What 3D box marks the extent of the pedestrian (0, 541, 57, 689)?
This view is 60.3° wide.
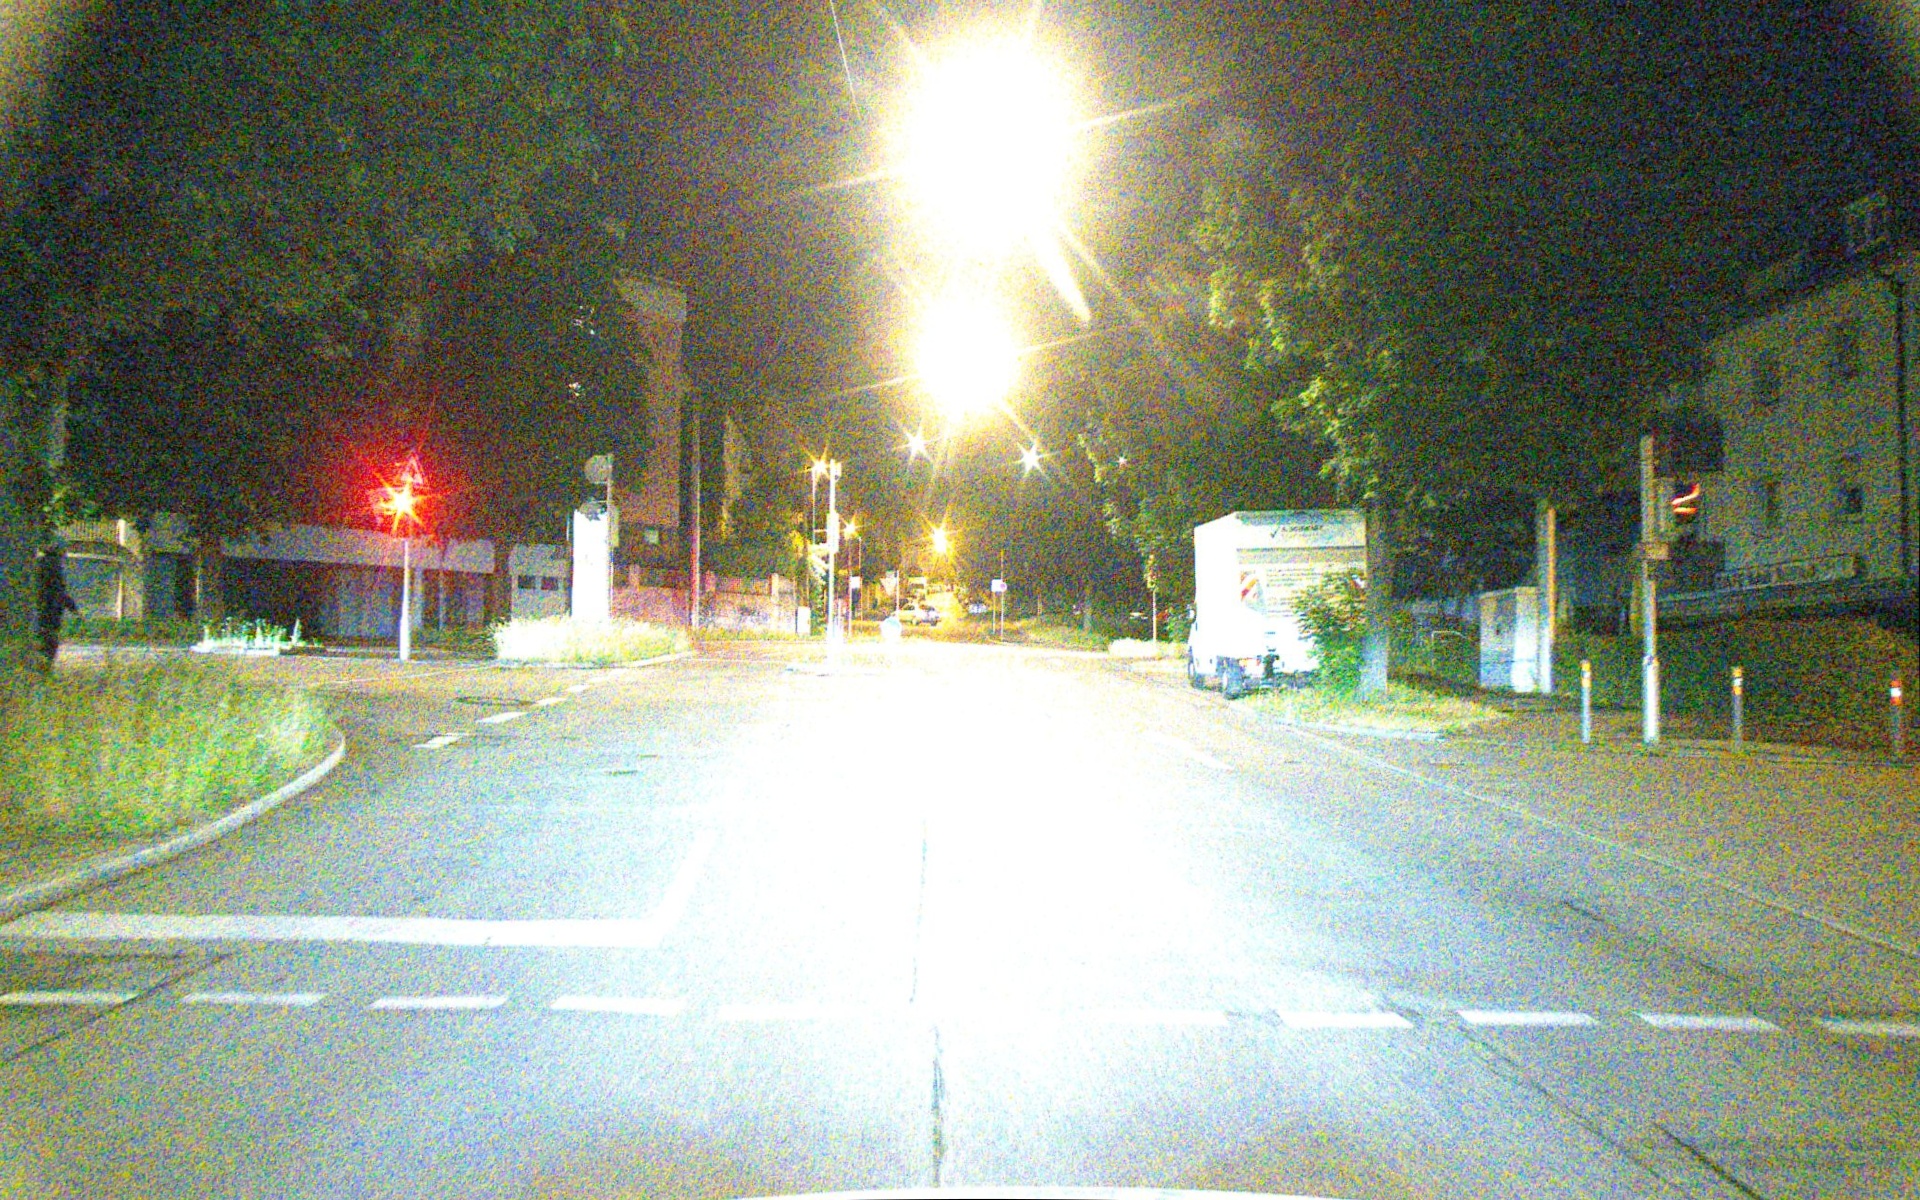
[{"bbox_3d":[-11.412,0.177,20.081,0.558,1.761,0.543,1,-1,-1],"label":"pedestrian"}]

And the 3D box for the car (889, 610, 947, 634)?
[{"bbox_3d":[-2.798,1.430,110.198,1.766,1.512,3.939,2,-1,-41],"label":"car"}]

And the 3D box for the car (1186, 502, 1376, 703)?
[{"bbox_3d":[5.477,0.051,29.107,2.249,3.147,5.840,-1,0,1],"label":"car"}]

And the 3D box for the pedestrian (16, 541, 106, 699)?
[{"bbox_3d":[-10.631,0.238,19.577,0.558,1.808,0.737,3,-1,-1],"label":"pedestrian"}]
